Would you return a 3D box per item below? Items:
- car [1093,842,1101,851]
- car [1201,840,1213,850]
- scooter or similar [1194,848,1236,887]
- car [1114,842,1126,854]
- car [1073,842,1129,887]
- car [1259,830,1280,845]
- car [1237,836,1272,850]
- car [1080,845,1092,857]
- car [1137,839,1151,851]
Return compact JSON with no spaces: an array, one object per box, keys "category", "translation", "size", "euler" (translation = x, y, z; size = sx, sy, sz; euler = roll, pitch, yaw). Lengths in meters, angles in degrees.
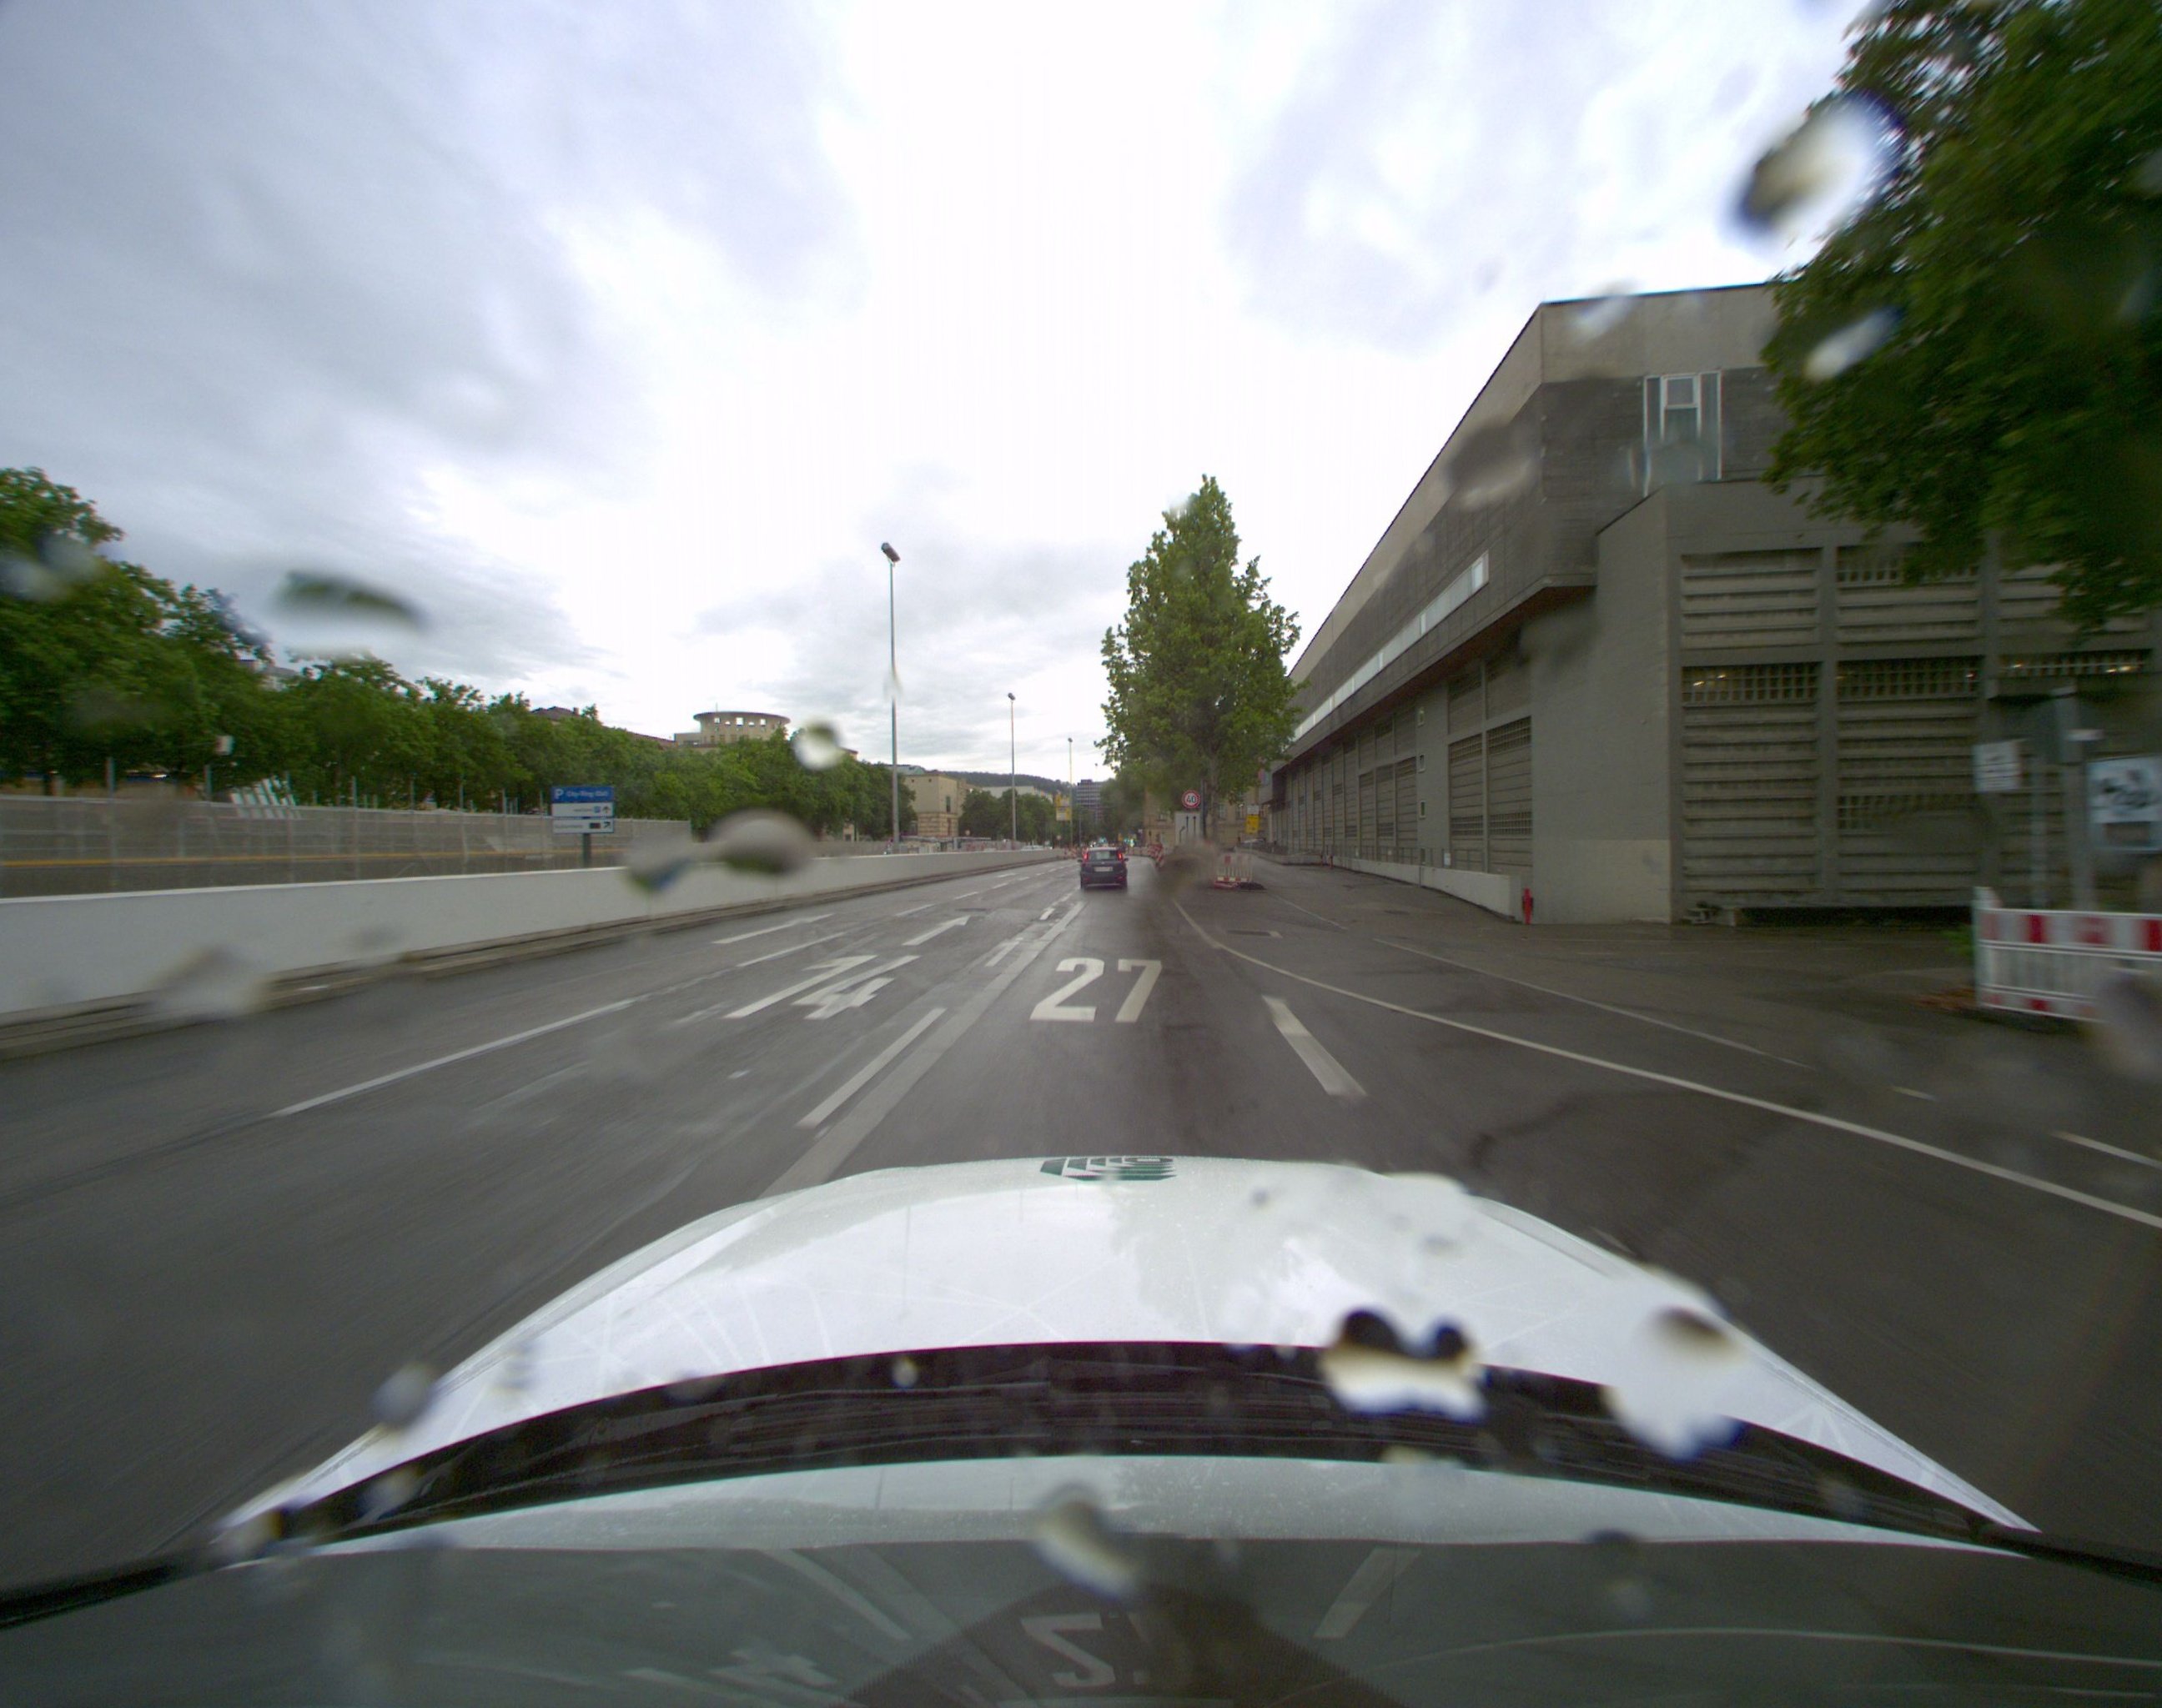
[{"category":"car","translation":[3.844,-1.889,196.469],"size":[1.987,2.014,3.999],"euler":[1,-1,0]},{"category":"car","translation":[21.273,-1.507,137.102],"size":[1.982,1.708,4.010],"euler":[0,0,9]},{"category":"scooter or similar","translation":[4.525,0.447,27.550],"size":[1.349,1.285,0.620],"euler":[1,-1,5]},{"category":"car","translation":[6.832,-1.022,141.368],"size":[1.984,2.013,4.005],"euler":[0,2,4]},{"category":"car","translation":[0.660,0.328,29.400],"size":[1.667,1.427,3.752],"euler":[-1,1,-4]},{"category":"car","translation":[25.174,-2.159,109.075],"size":[1.984,1.760,5.103],"euler":[-1,-1,5]},{"category":"car","translation":[21.632,-1.358,101.555],"size":[3.968,1.559,1.936],"euler":[-2,-2,5]},{"category":"car","translation":[0.608,-0.376,98.104],"size":[1.381,1.386,3.067],"euler":[-2,0,0]},{"category":"car","translation":[9.153,-1.357,117.812],"size":[1.984,1.708,4.005],"euler":[0,2,4]}]
